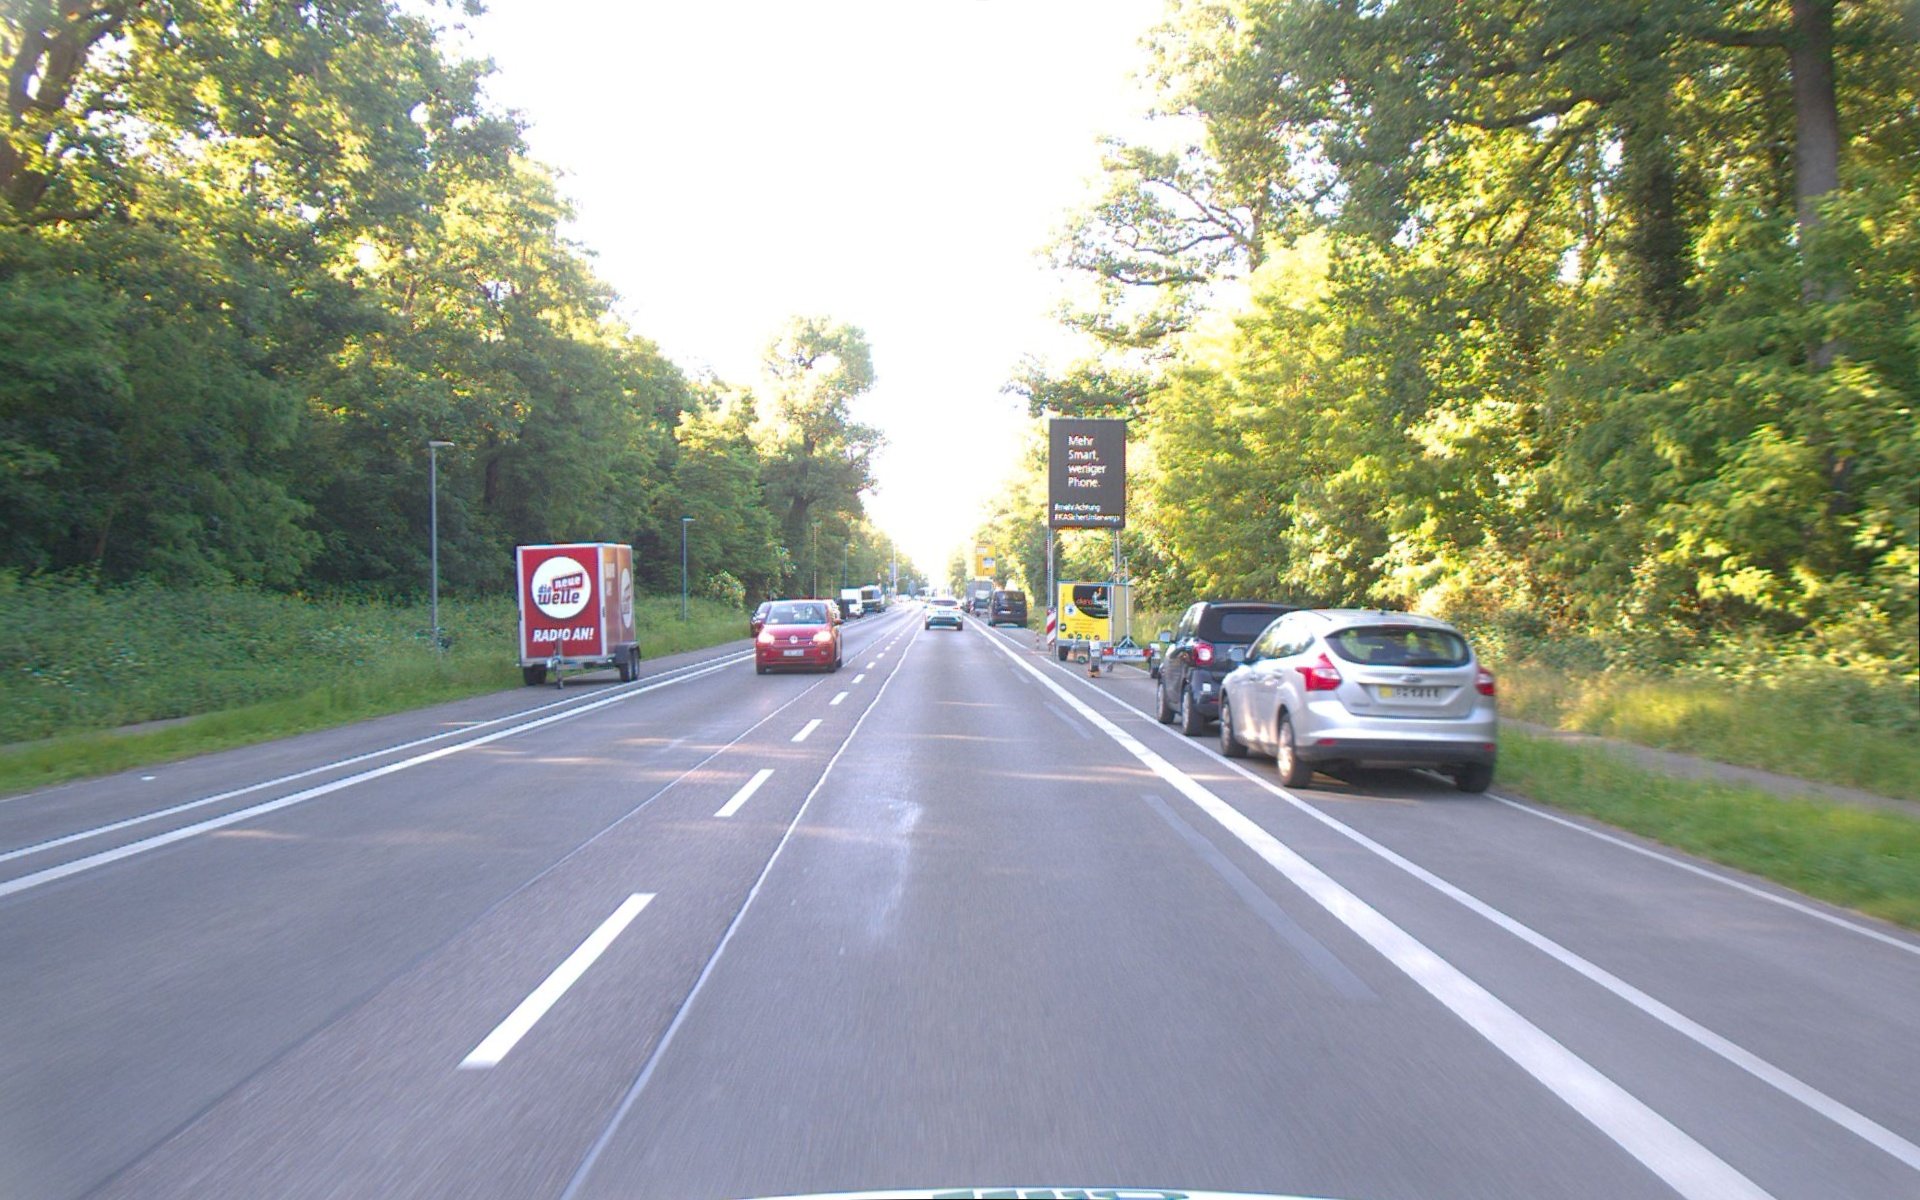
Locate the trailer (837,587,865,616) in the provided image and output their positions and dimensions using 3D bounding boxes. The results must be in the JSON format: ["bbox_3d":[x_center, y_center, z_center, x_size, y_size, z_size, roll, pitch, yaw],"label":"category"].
[{"bbox_3d":[-9.080,0.101,138.083,2.032,2.333,3.487,-1,0,1],"label":"trailer"}]

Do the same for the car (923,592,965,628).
[{"bbox_3d":[-0.770,0.445,78.752,1.953,1.668,3.999,0,0,-1],"label":"car"}]

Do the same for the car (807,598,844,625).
[{"bbox_3d":[-7.875,0.655,97.355,1.829,1.476,4.070,-3,0,-1],"label":"car"}]

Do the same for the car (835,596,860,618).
[{"bbox_3d":[-8.455,0.516,124.791,1.778,1.599,4.205,-2,0,-3],"label":"car"}]

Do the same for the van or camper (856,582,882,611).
[{"bbox_3d":[-9.277,-0.344,169.398,2.255,2.816,5.556,-2,0,-1],"label":"van or camper"}]

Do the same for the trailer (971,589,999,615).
[{"bbox_3d":[2.084,0.175,136.555,1.581,2.149,2.397,1,0,20],"label":"trailer"}]

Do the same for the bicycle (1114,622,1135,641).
[{"bbox_3d":[6.442,1.230,64.757,0.579,0.704,1.996,1,0,-1],"label":"bicycle"}]

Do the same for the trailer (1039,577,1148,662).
[{"bbox_3d":[3.470,0.456,42.403,1.921,2.058,3.845,0,0,19],"label":"trailer"}]

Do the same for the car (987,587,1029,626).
[{"bbox_3d":[2.643,0.329,92.437,2.070,2.049,5.039,2,0,0],"label":"car"}]

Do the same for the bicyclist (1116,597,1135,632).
[{"bbox_3d":[6.484,0.553,64.688,0.598,1.348,1.175,1,0,-1],"label":"bicyclist"}]

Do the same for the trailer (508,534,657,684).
[{"bbox_3d":[-7.121,0.152,31.607,1.953,2.667,4.085,0,0,-1],"label":"trailer"}]

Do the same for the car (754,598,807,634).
[{"bbox_3d":[-7.633,0.646,70.714,1.817,1.490,4.783,0,0,-1],"label":"car"}]

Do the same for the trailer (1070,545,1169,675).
[{"bbox_3d":[3.283,0.205,34.651,1.581,2.552,3.999,1,0,-1],"label":"trailer"}]

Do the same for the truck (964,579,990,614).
[{"bbox_3d":[1.707,-0.361,166.553,2.454,3.425,7.106,1,0,0],"label":"truck"}]

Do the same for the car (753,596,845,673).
[{"bbox_3d":[-3.249,0.668,33.939,1.571,1.445,3.518,-1,0,-1],"label":"car"}]

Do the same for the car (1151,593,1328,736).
[{"bbox_3d":[3.316,0.718,20.097,1.554,1.557,3.010,2,0,-1],"label":"car"}]

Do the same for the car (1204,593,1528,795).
[{"bbox_3d":[3.493,0.729,15.090,1.700,1.514,4.399,2,0,-2],"label":"car"}]
